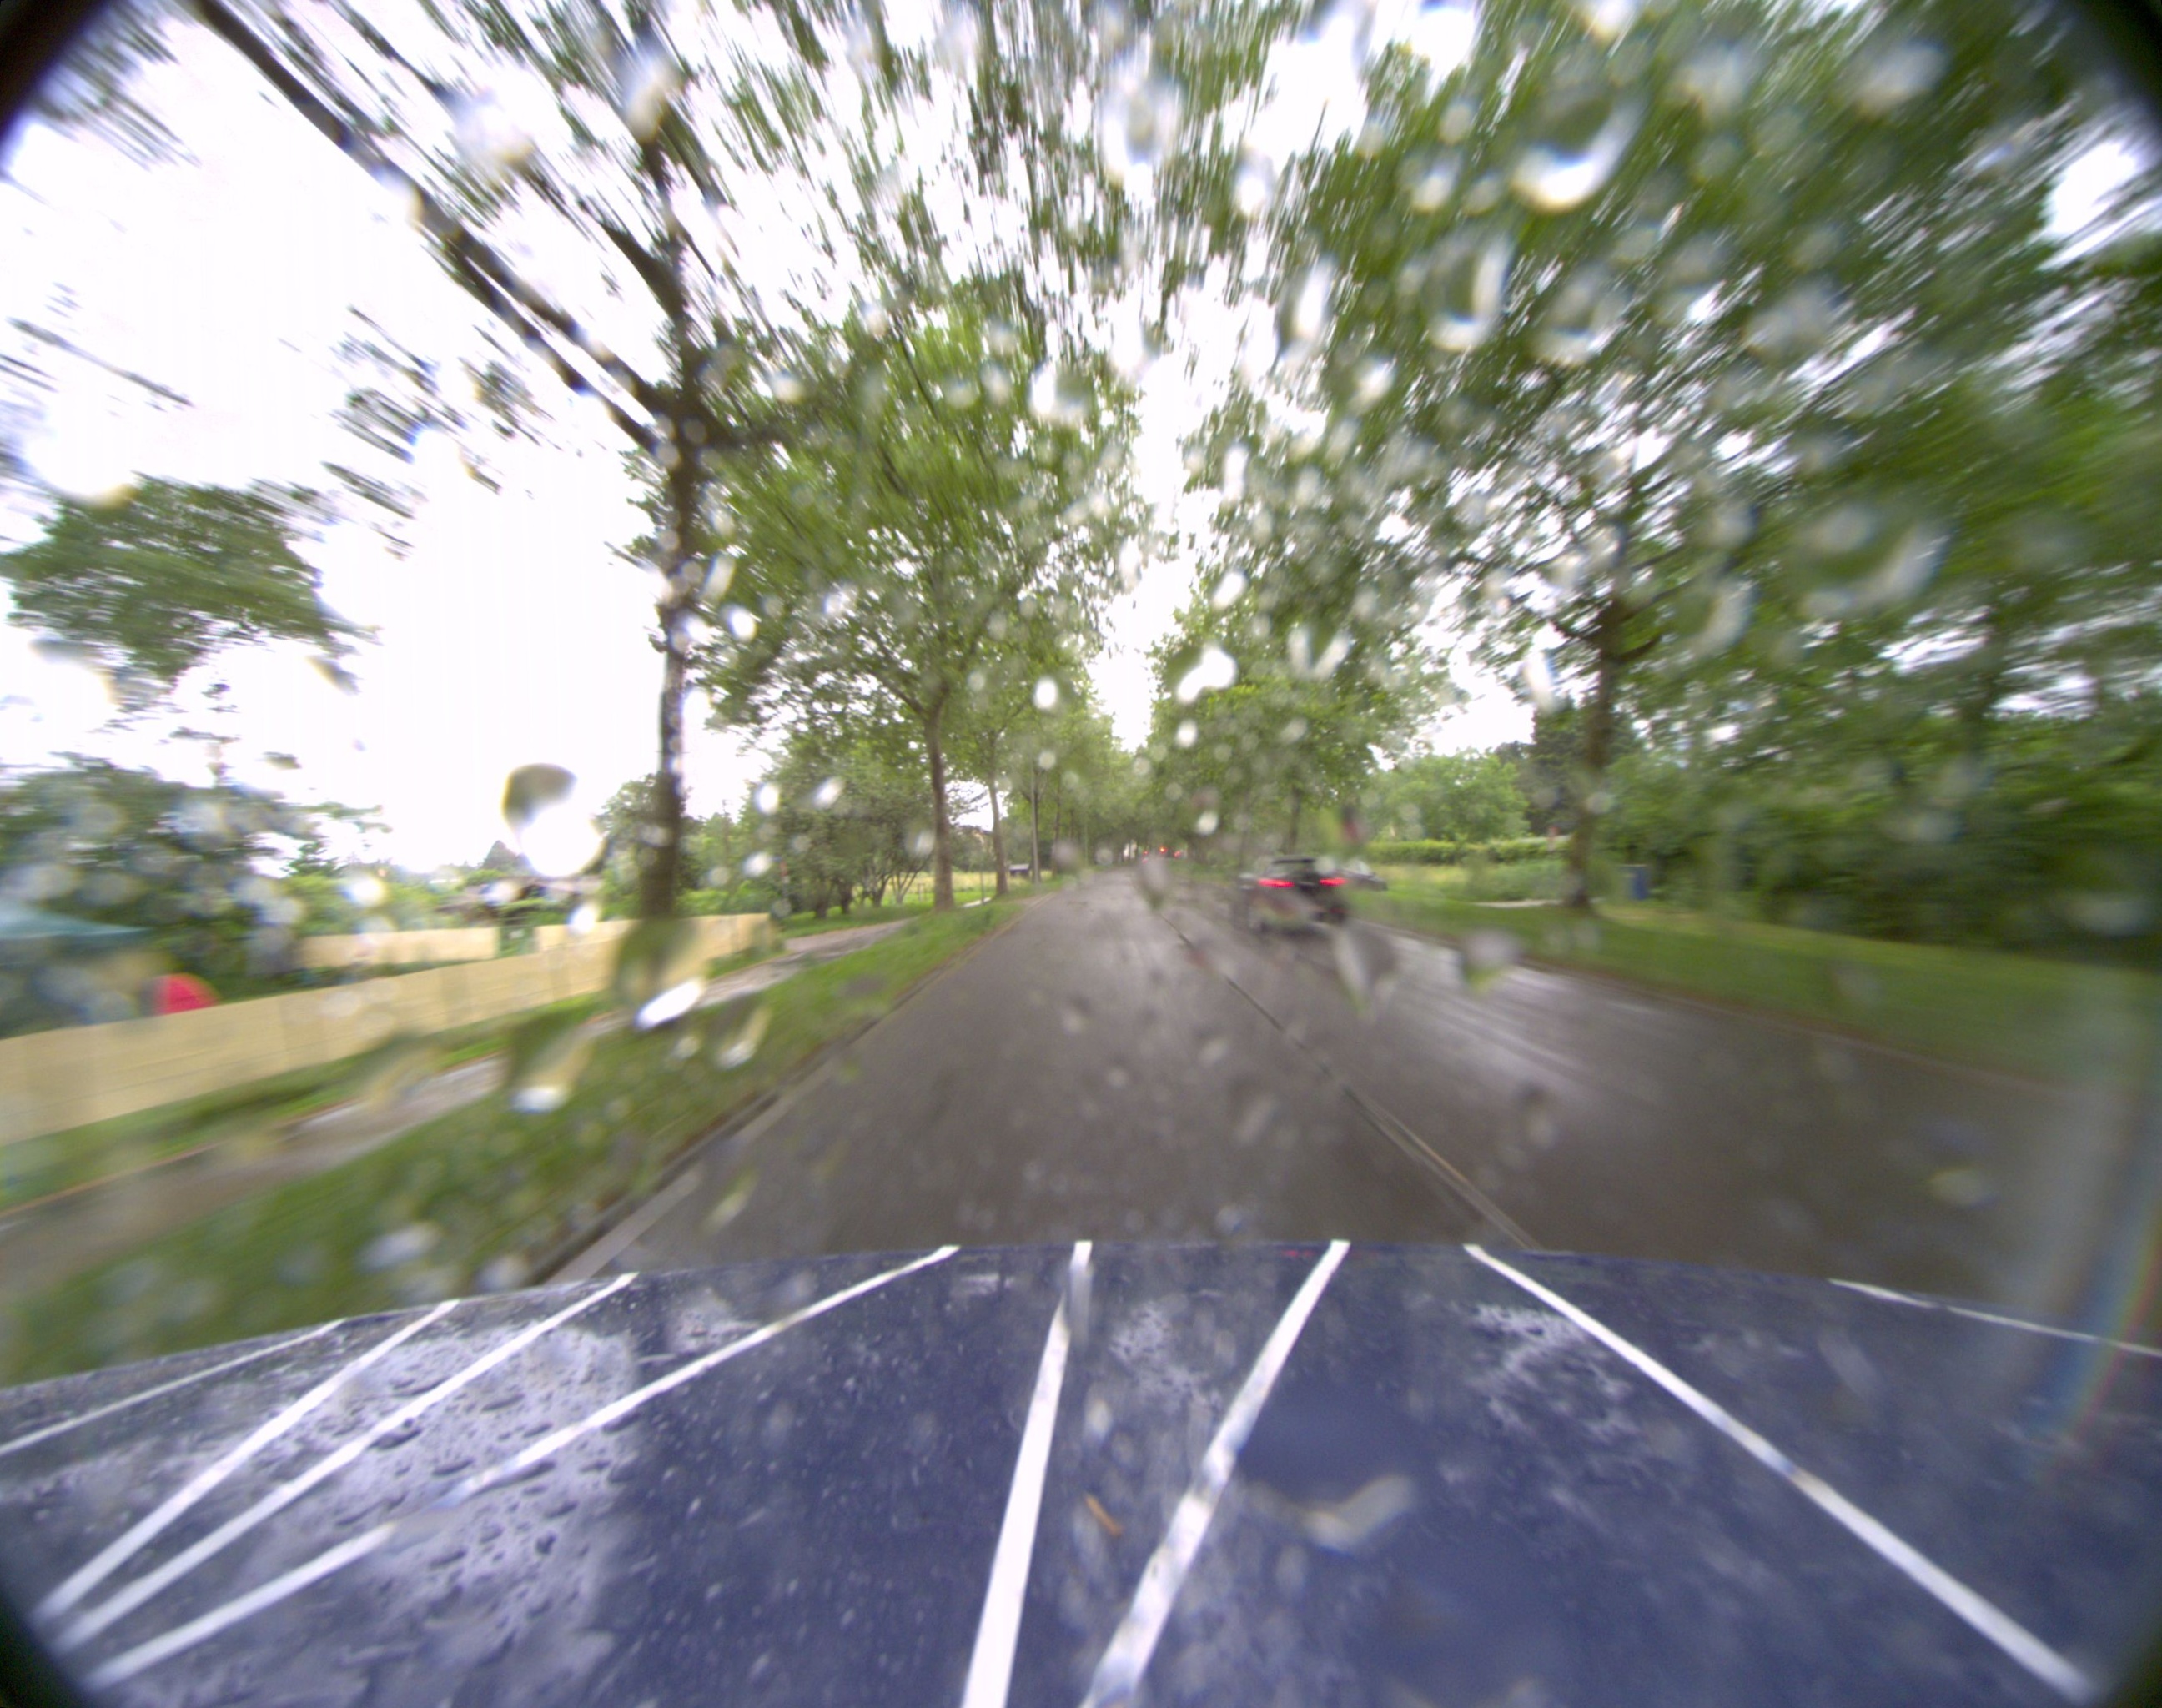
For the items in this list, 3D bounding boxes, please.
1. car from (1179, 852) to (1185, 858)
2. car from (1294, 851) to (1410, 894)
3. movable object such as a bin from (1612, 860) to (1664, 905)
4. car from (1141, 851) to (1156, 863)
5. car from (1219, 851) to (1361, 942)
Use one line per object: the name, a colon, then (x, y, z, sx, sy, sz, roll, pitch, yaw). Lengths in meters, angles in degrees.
car: (30.883, 0.233, 232.198, 1.866, 1.740, 5.017, -1, 0, 6)
car: (11.101, 0.791, 31.191, 4.314, 1.578, 1.735, 2, -3, -17)
movable object such as a bin: (18.505, 0.933, 25.264, 0.965, 1.414, 0.966, -3, 1, 1)
car: (8.588, 0.384, 97.082, 1.735, 1.415, 4.225, -1, 0, 2)
car: (3.993, 0.735, 15.155, 1.711, 1.477, 3.881, -3, 0, 0)
